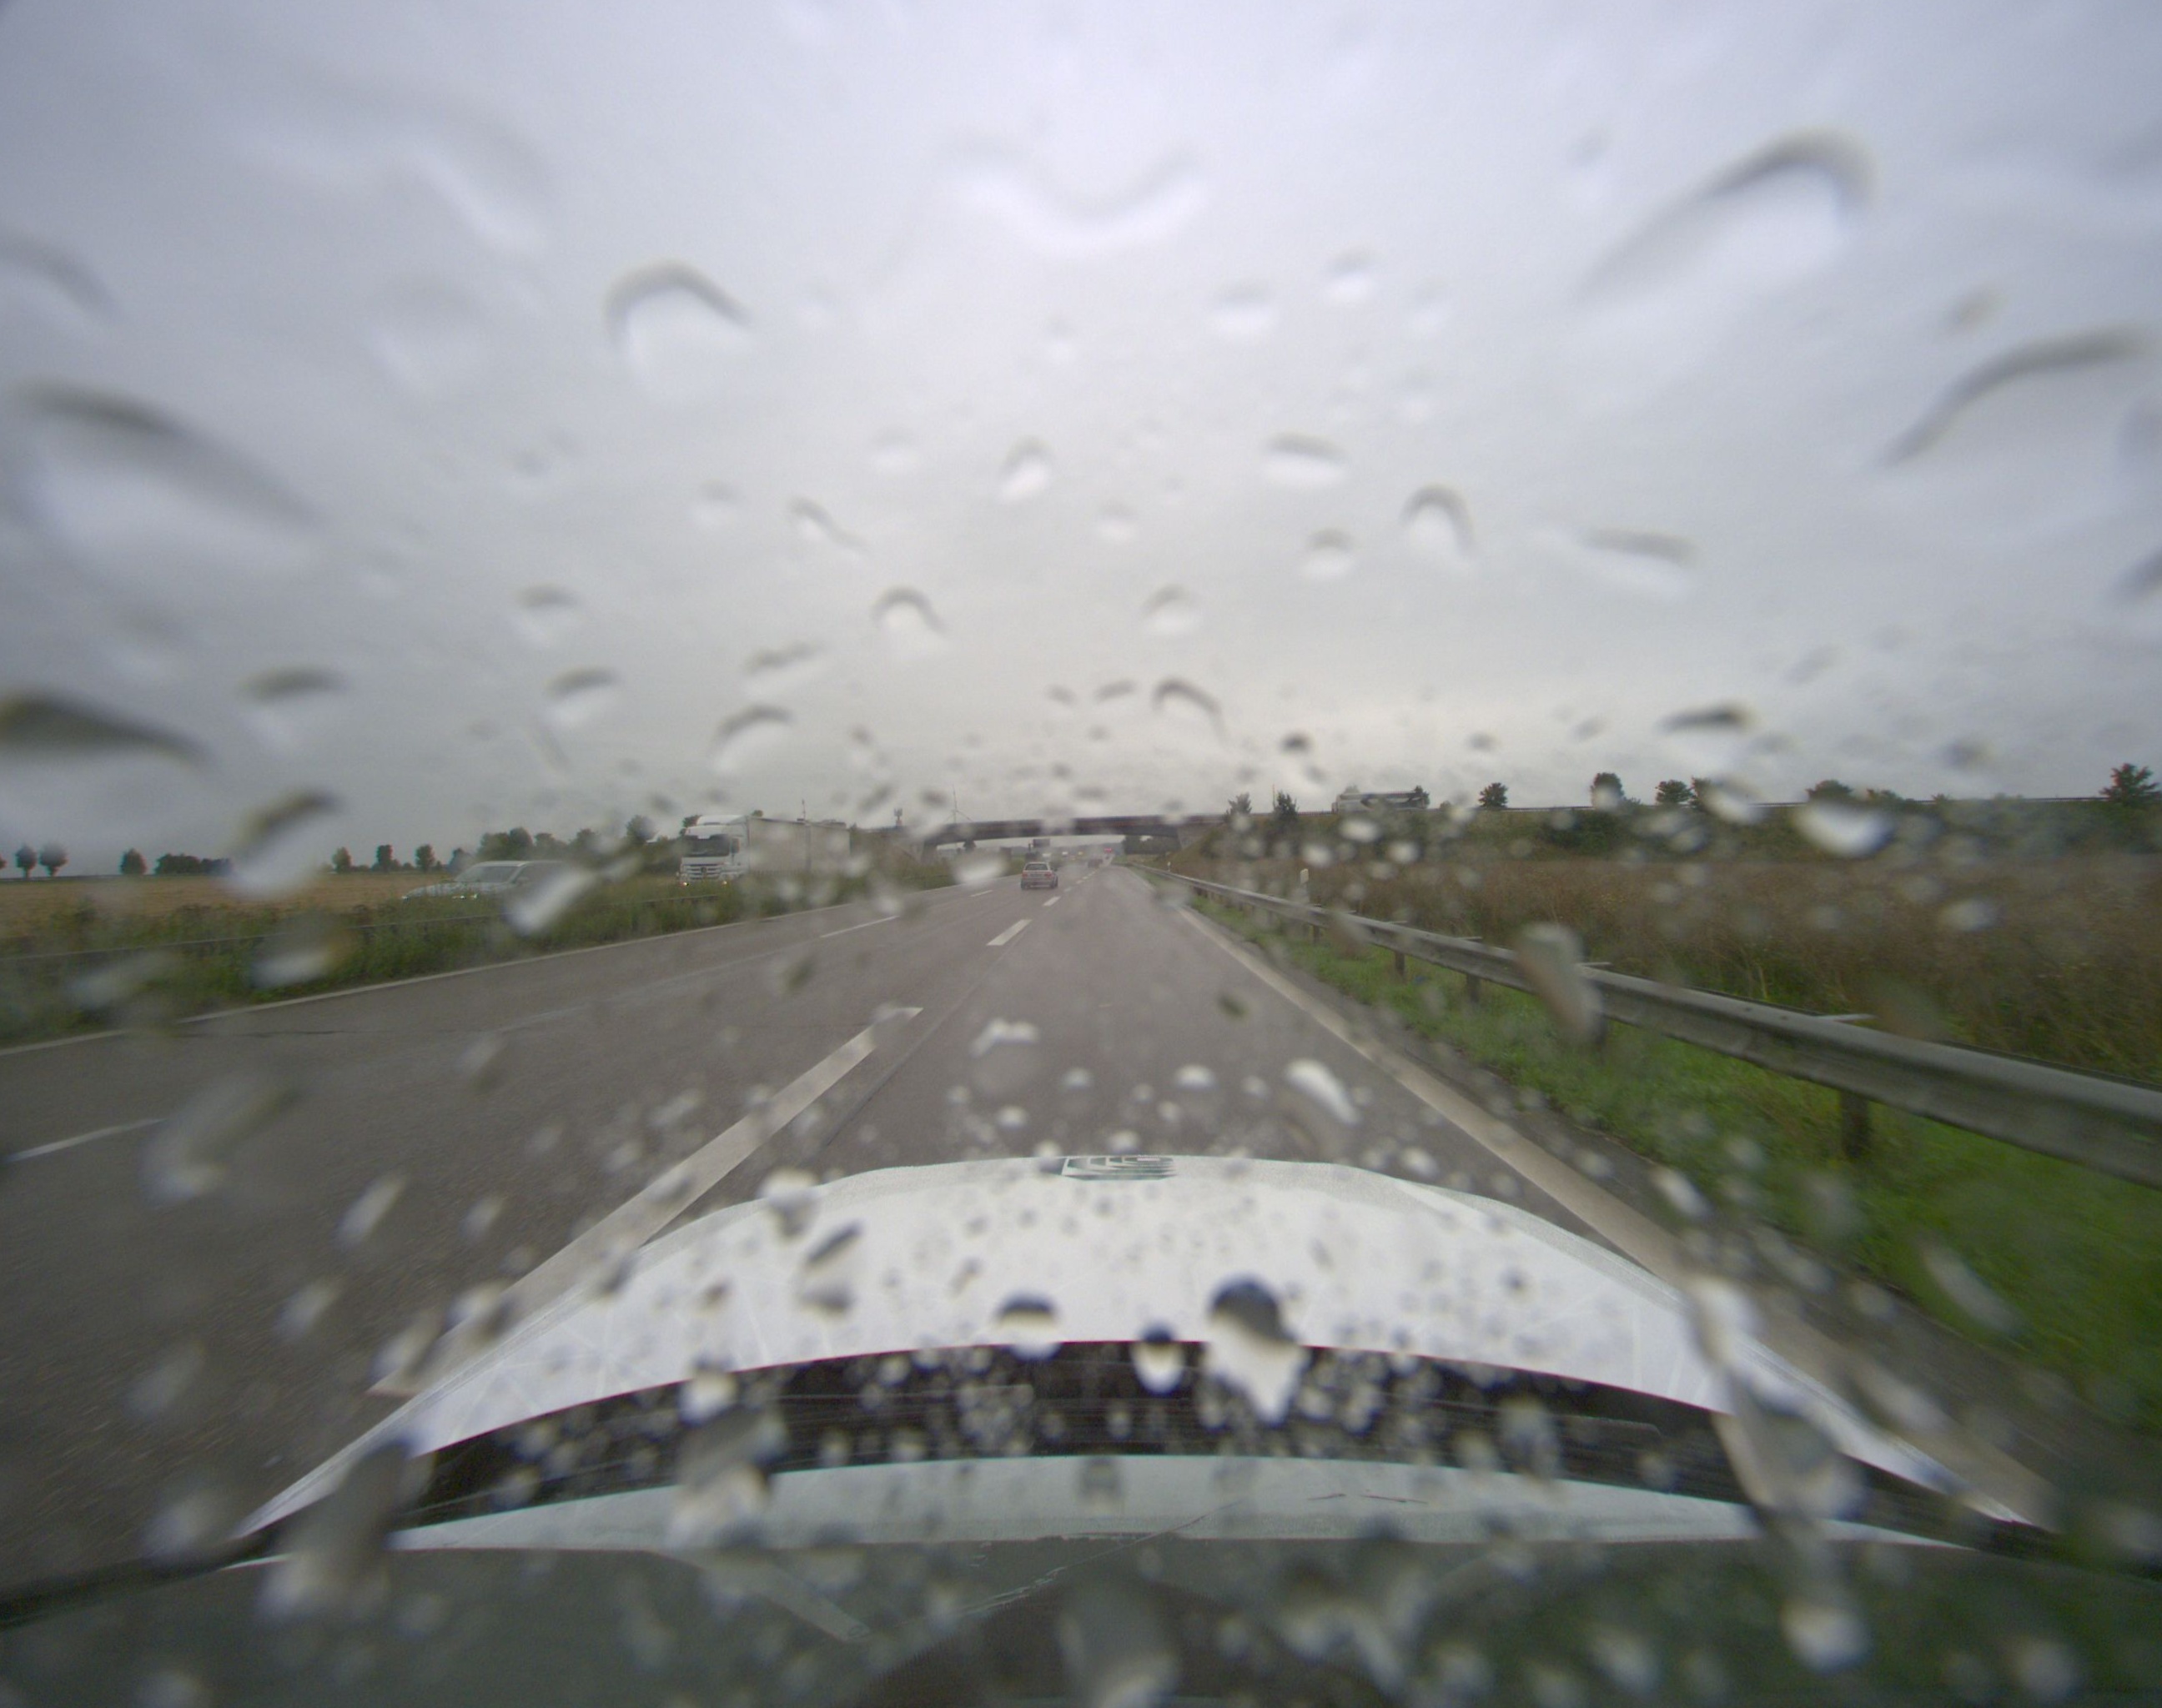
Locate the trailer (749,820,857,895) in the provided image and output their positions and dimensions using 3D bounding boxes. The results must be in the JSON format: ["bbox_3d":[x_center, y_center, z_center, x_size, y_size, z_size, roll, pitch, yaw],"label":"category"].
[{"bbox_3d":[-18.131,0.253,54.141,3.217,4.385,10.517,-2,-1,1],"label":"trailer"}]

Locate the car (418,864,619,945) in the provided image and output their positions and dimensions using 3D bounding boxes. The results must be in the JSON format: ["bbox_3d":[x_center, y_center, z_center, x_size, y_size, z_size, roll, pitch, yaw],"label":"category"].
[{"bbox_3d":[-15.083,1.261,22.277,2.098,1.875,4.869,-1,0,0],"label":"car"}]

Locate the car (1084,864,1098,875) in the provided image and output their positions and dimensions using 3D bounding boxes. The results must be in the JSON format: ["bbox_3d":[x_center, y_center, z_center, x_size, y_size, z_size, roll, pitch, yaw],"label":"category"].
[{"bbox_3d":[1.593,2.368,126.575,2.137,1.636,4.596,0,-1,1],"label":"car"}]

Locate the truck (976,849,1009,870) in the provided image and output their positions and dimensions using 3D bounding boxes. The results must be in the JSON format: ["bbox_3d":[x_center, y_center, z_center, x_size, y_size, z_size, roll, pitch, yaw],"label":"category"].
[{"bbox_3d":[-14.969,0.953,138.135,2.976,3.376,11.072,-2,0,7],"label":"truck"}]

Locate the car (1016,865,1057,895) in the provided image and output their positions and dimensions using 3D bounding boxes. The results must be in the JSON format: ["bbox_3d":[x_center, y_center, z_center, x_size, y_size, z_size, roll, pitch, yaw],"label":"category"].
[{"bbox_3d":[-2.370,1.364,44.291,1.868,1.488,4.796,-1,-1,0],"label":"car"}]

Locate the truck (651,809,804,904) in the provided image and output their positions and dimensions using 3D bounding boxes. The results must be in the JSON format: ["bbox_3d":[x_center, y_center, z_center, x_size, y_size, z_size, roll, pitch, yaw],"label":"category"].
[{"bbox_3d":[-18.422,0.165,43.577,3.217,4.385,10.517,-2,-1,1],"label":"truck"}]

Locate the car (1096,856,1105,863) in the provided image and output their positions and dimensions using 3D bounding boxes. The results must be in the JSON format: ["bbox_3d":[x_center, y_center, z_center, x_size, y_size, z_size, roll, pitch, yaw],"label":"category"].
[{"bbox_3d":[4.887,1.386,205.482,1.986,1.697,4.002,-3,1,1],"label":"car"}]
